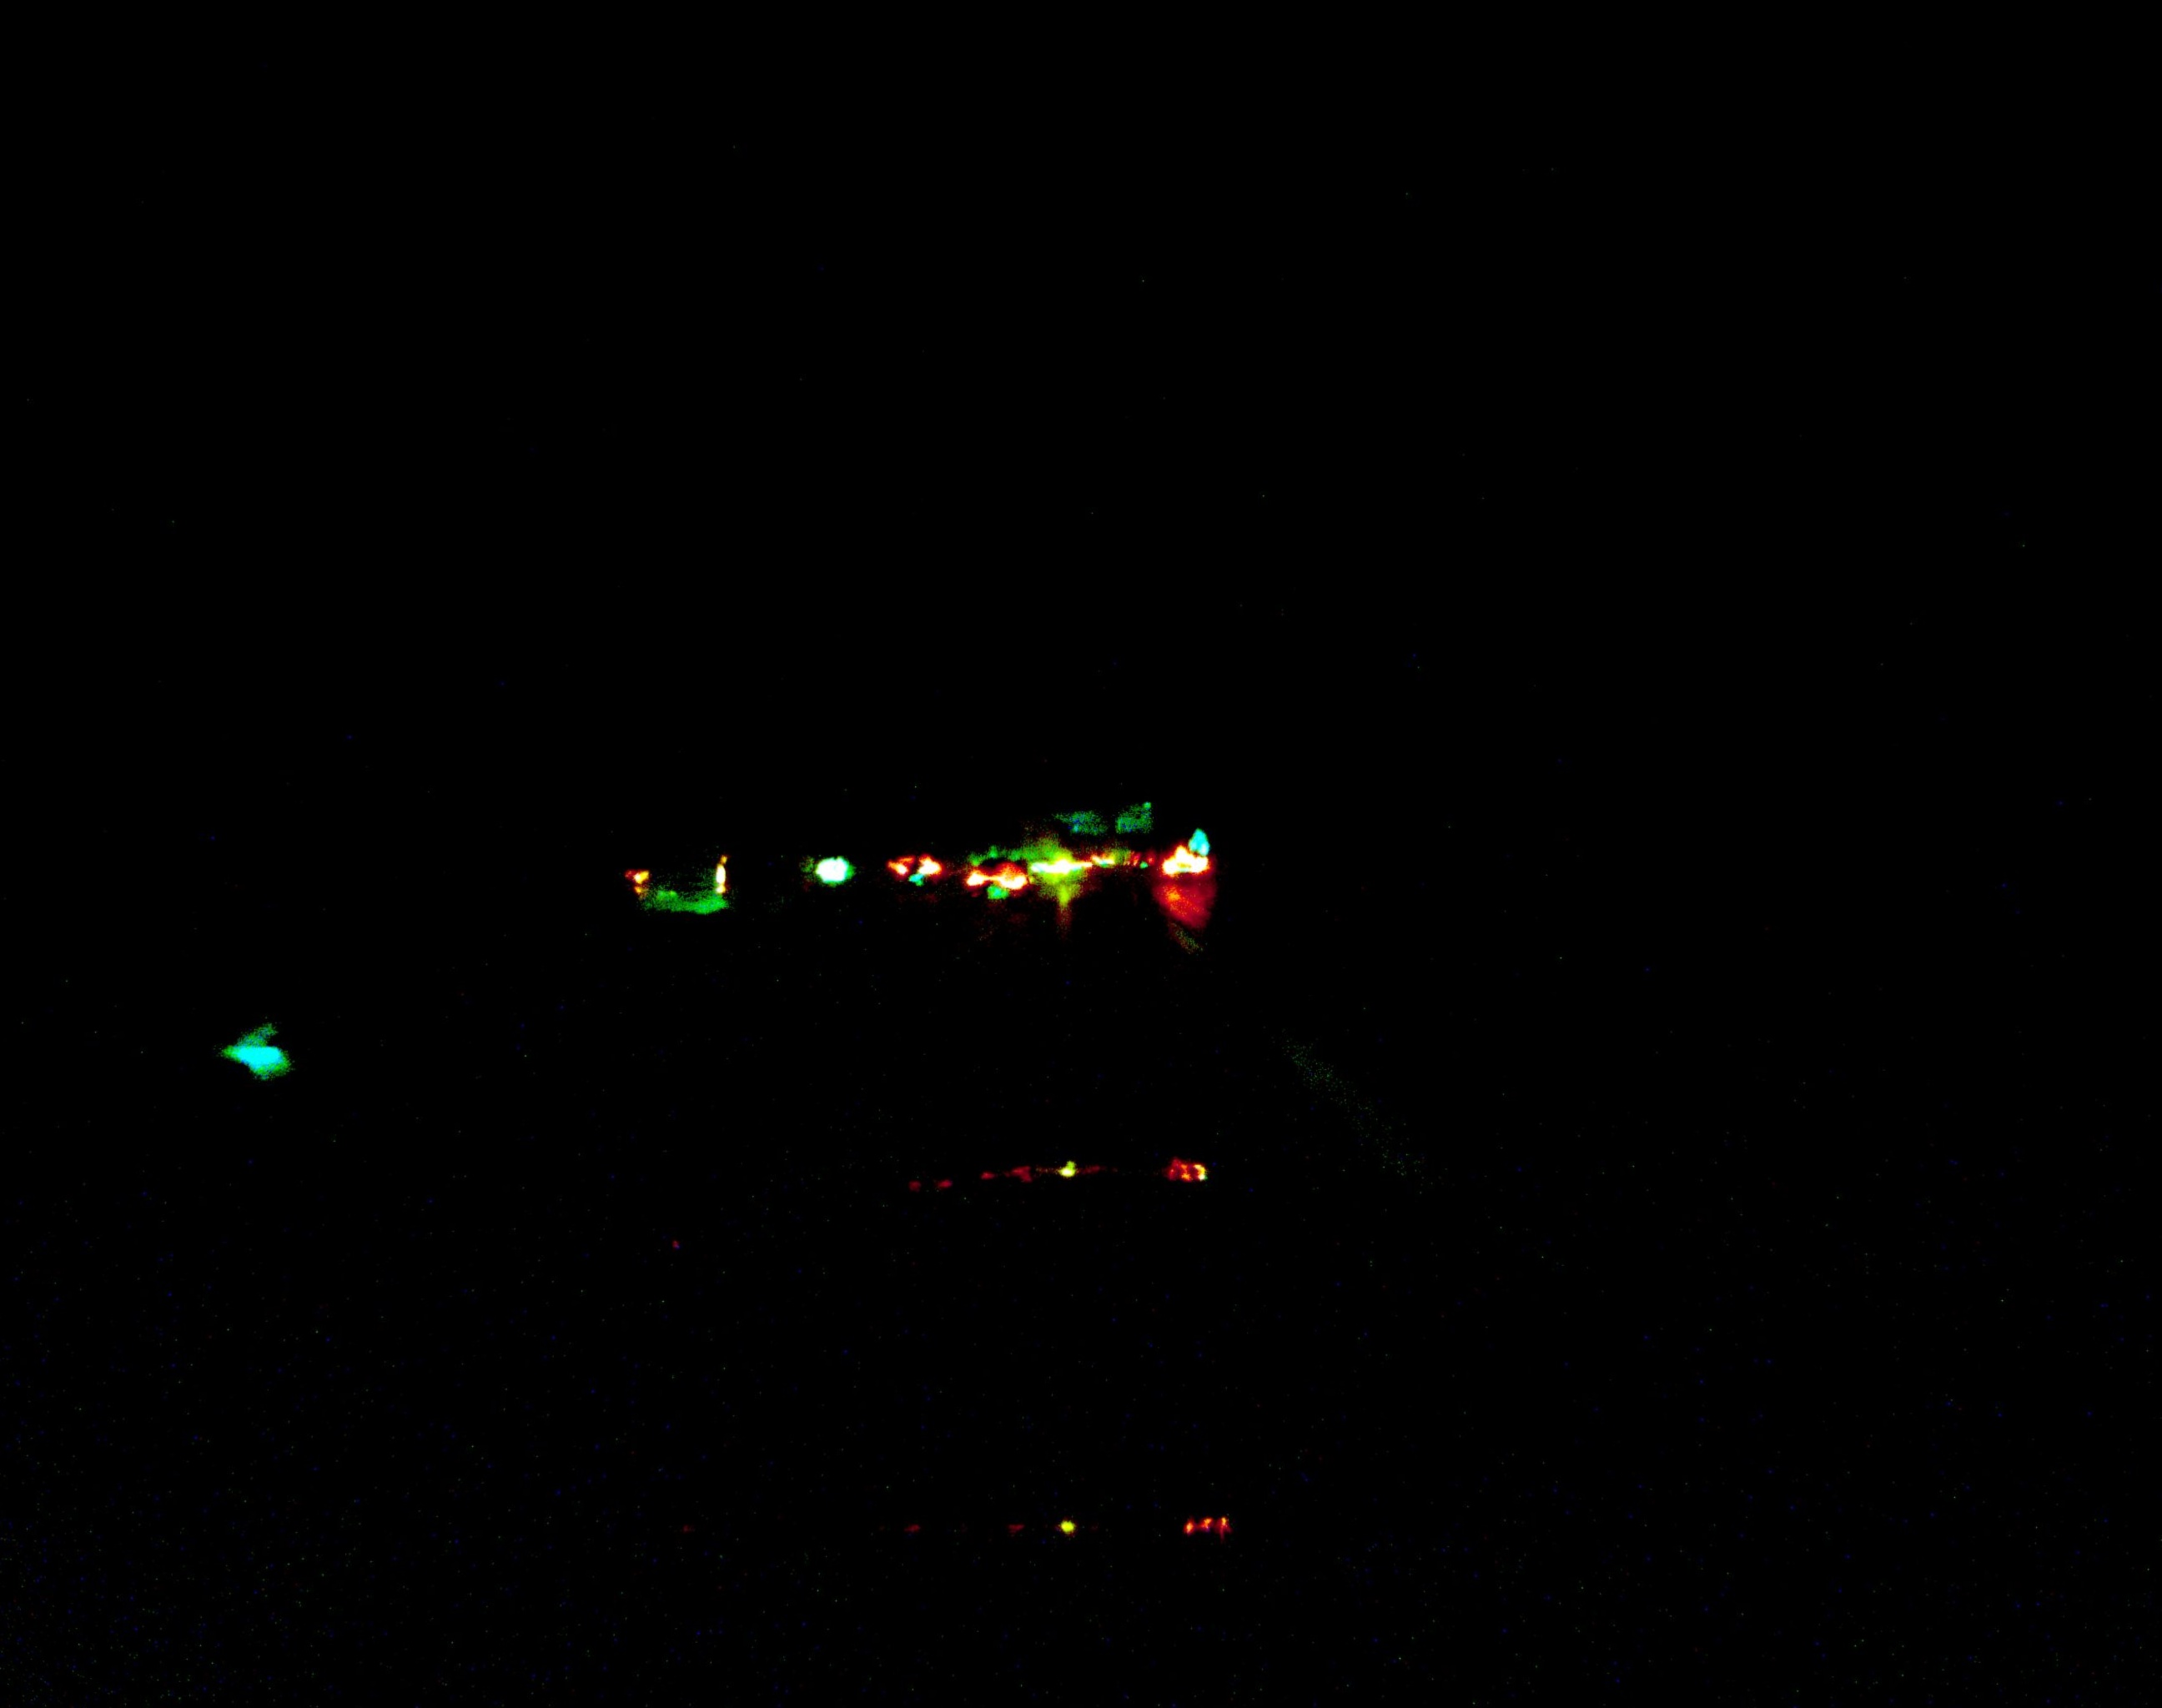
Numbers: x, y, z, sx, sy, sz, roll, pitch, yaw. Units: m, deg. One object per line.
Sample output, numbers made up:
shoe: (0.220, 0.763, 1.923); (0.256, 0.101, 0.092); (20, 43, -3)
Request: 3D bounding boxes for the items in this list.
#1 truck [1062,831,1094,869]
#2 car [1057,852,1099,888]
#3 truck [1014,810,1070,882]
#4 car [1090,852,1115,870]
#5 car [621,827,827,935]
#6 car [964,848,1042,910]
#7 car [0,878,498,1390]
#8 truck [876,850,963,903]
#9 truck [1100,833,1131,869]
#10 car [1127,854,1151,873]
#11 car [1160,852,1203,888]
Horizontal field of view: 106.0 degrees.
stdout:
truck: (-0.348, -0.509, 123.252); (4.236, 5.444, 10.894); (0, -1, 3)
car: (-0.095, 0.821, 42.957); (2.031, 1.761, 4.517); (0, 0, 2)
truck: (-2.754, -0.521, 58.661); (3.647, 4.737, 9.843); (0, 0, -2)
car: (2.543, 0.792, 94.666); (2.822, 2.014, 5.513); (0, 0, 2)
car: (-7.873, 0.534, 18.762); (2.115, 2.104, 5.631); (-1, 0, 1)
car: (-2.233, 0.664, 24.319); (1.758, 1.689, 4.003); (-1, 0, 2)
car: (-3.981, 0.856, 2.206); (1.650, 1.431, 4.247); (-1, 0, 1)
truck: (-7.157, 0.950, 36.943); (2.849, 2.201, 5.856); (0, 0, -1)
truck: (5.107, -0.467, 123.216); (4.149, 5.215, 9.949); (0, -1, -1)
car: (5.252, 0.872, 73.902); (1.986, 1.704, 4.460); (0, 0, 2)
car: (5.075, 0.803, 41.598); (1.870, 1.762, 4.002); (0, 0, 2)
